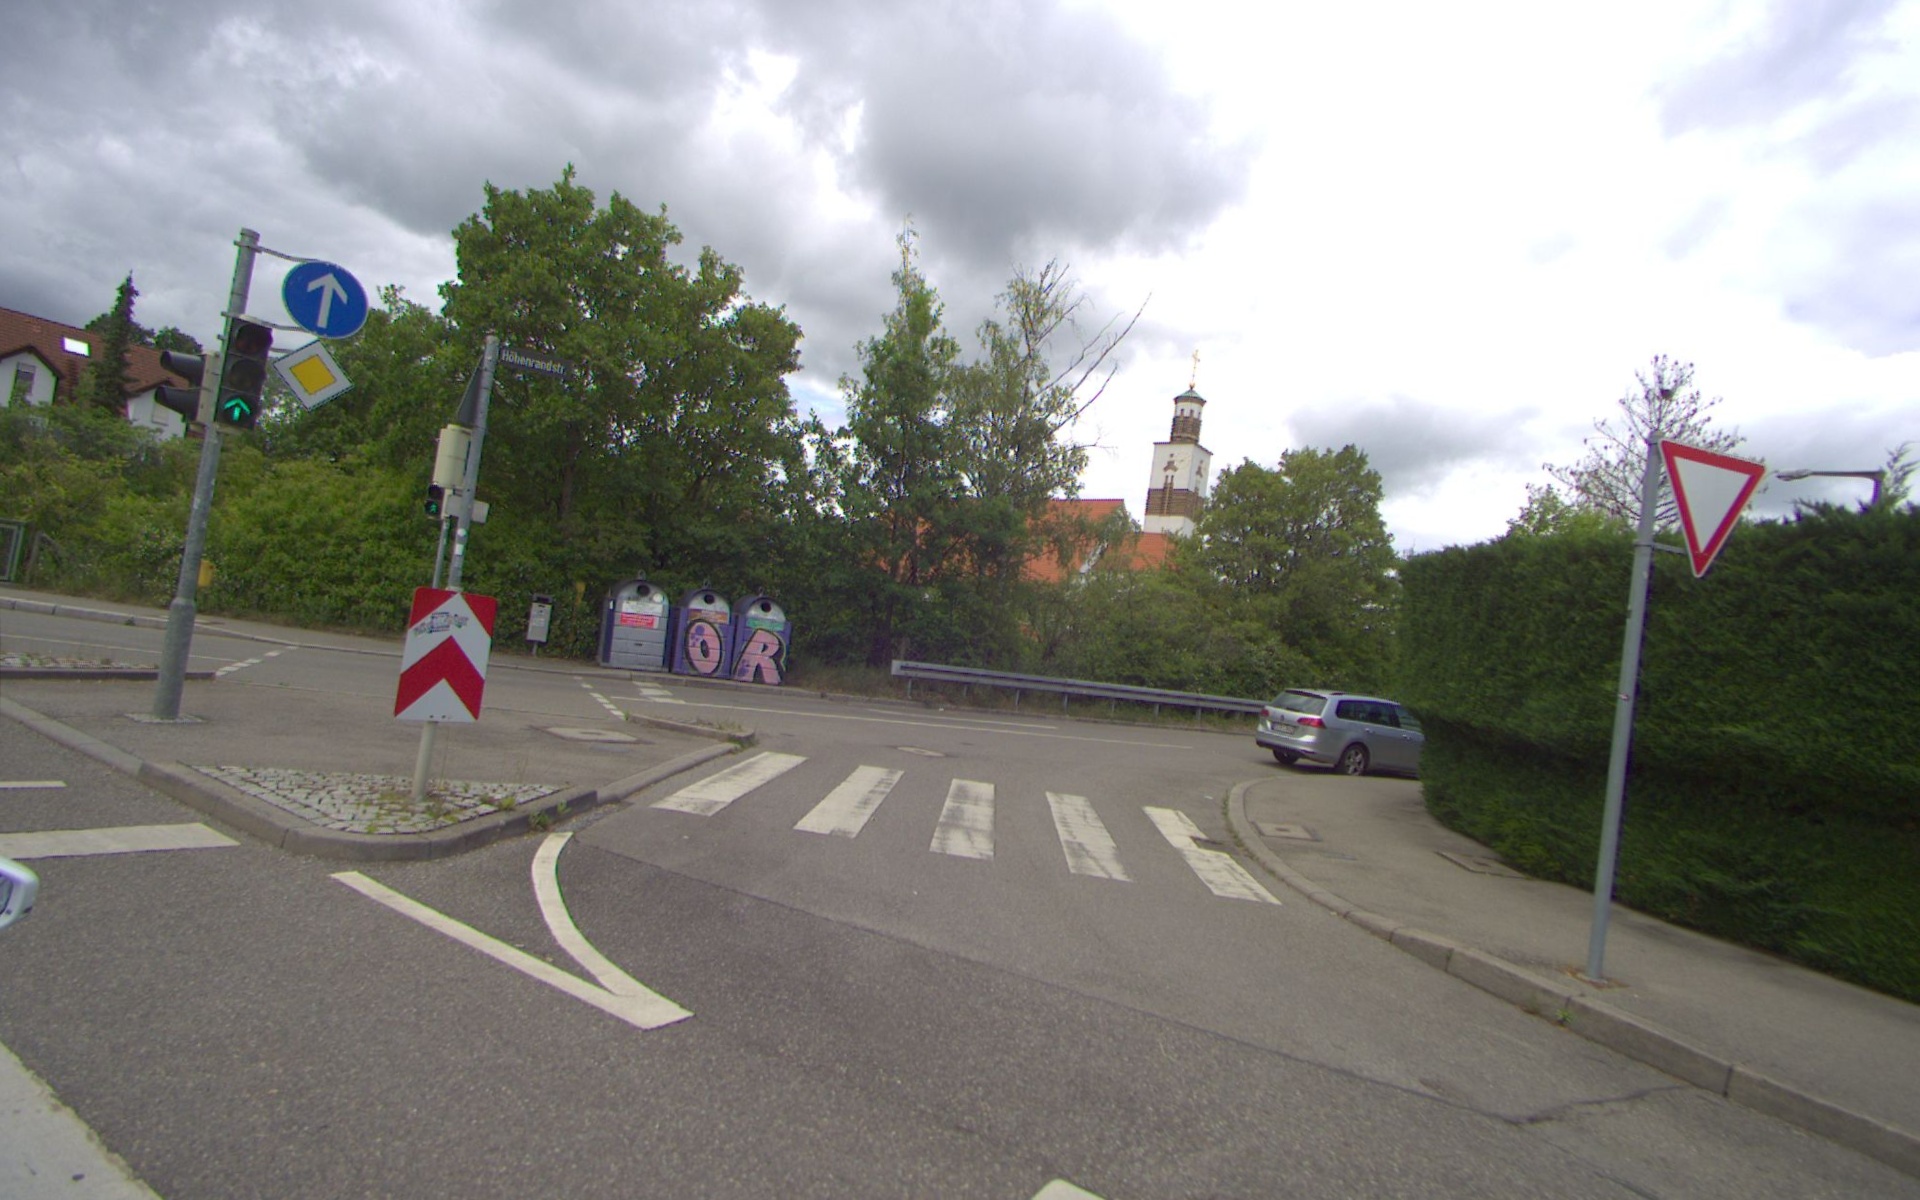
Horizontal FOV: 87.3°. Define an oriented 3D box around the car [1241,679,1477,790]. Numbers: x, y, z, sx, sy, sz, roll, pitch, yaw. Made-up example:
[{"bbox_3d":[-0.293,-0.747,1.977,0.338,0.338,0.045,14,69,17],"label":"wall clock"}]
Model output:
[{"bbox_3d":[7.286,2.458,18.340,3.875,1.461,1.703,8,-1,-25],"label":"car"}]
